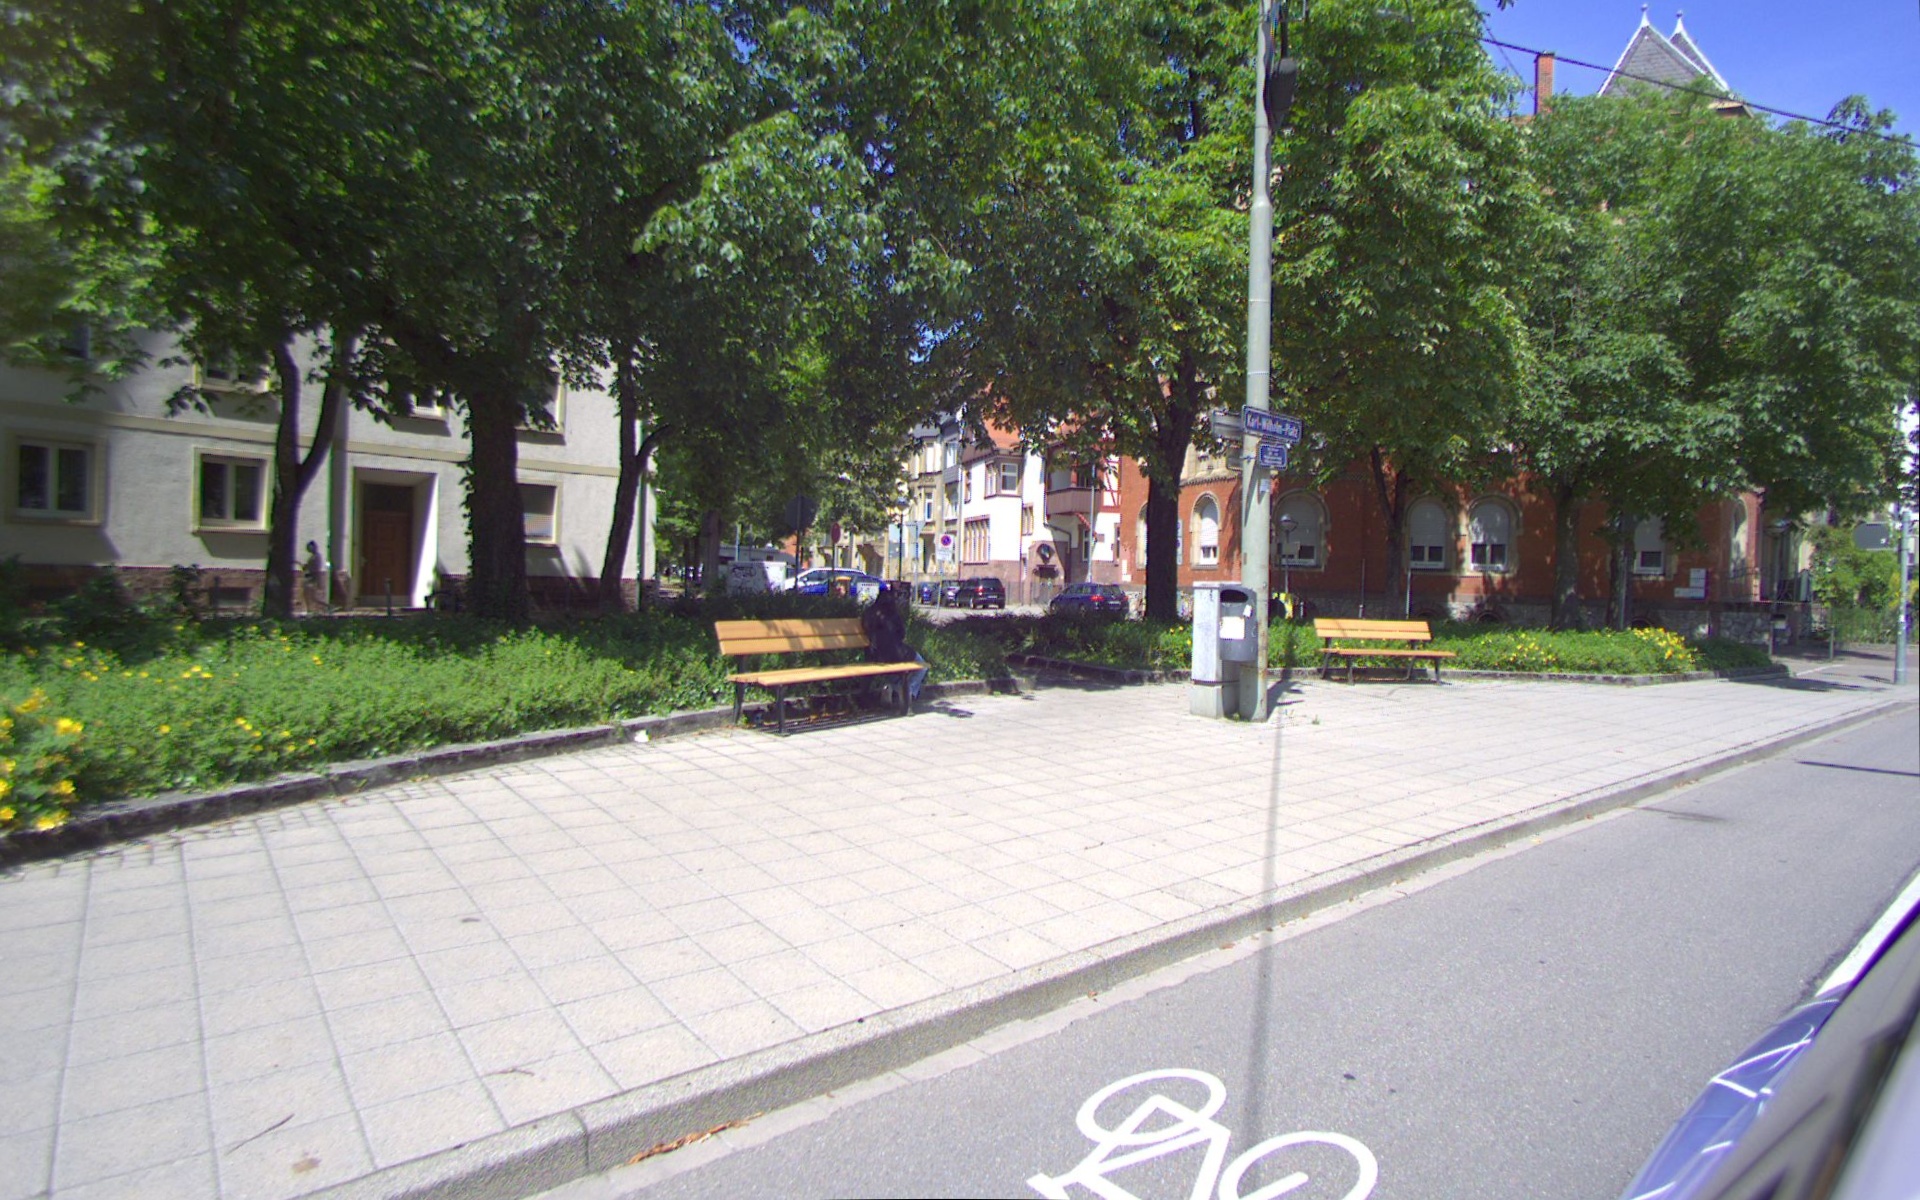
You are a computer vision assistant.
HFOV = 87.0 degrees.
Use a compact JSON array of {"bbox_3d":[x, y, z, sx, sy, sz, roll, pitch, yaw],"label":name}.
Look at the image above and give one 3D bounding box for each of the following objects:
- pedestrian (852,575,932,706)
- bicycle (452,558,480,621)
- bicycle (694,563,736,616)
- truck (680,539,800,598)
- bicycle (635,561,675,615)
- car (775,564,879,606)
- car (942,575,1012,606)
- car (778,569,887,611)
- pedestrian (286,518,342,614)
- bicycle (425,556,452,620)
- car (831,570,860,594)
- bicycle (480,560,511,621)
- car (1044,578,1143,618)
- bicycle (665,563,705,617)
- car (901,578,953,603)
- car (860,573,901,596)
[{"bbox_3d":[-0.611,0.352,9.052,0.469,1.105,0.511,2,2,-34],"label":"pedestrian"},{"bbox_3d":[-11.238,-0.259,22.996,0.505,1.364,2.247,0,1,-28],"label":"bicycle"},{"bbox_3d":[-6.381,-0.252,26.259,0.536,1.317,2.161,0,0,-28],"label":"bicycle"},{"bbox_3d":[-12.986,-1.831,59.761,6.685,3.193,1.939,2,0,-19],"label":"truck"},{"bbox_3d":[-7.724,-0.316,25.578,0.536,1.316,2.162,0,1,-28],"label":"bicycle"},{"bbox_3d":[-5.817,-0.642,44.129,4.176,1.673,1.731,2,0,-21],"label":"car"},{"bbox_3d":[0.822,-0.516,53.535,1.946,1.551,5.502,0,1,-19],"label":"car"},{"bbox_3d":[-4.925,-0.393,38.947,3.807,1.447,1.731,2,0,-21],"label":"car"},{"bbox_3d":[-14.016,-0.731,21.957,0.802,2.039,0.764,1,1,33],"label":"pedestrian"},{"bbox_3d":[-11.746,-0.279,22.756,0.505,1.361,2.332,0,1,-28],"label":"bicycle"},{"bbox_3d":[-9.931,-1.569,87.540,1.868,2.039,4.009,0,1,-16],"label":"car"},{"bbox_3d":[-10.643,-0.232,23.162,0.536,1.316,2.162,0,1,-28],"label":"bicycle"},{"bbox_3d":[5.200,-0.116,40.149,1.865,1.459,4.769,0,1,-20],"label":"car"},{"bbox_3d":[-7.033,-0.260,25.826,0.536,1.316,2.162,0,1,-28],"label":"bicycle"},{"bbox_3d":[-2.117,-0.629,62.912,1.865,1.482,4.625,0,1,-20],"label":"car"},{"bbox_3d":[-5.801,-1.115,73.381,1.865,1.575,4.411,0,1,-20],"label":"car"}]
